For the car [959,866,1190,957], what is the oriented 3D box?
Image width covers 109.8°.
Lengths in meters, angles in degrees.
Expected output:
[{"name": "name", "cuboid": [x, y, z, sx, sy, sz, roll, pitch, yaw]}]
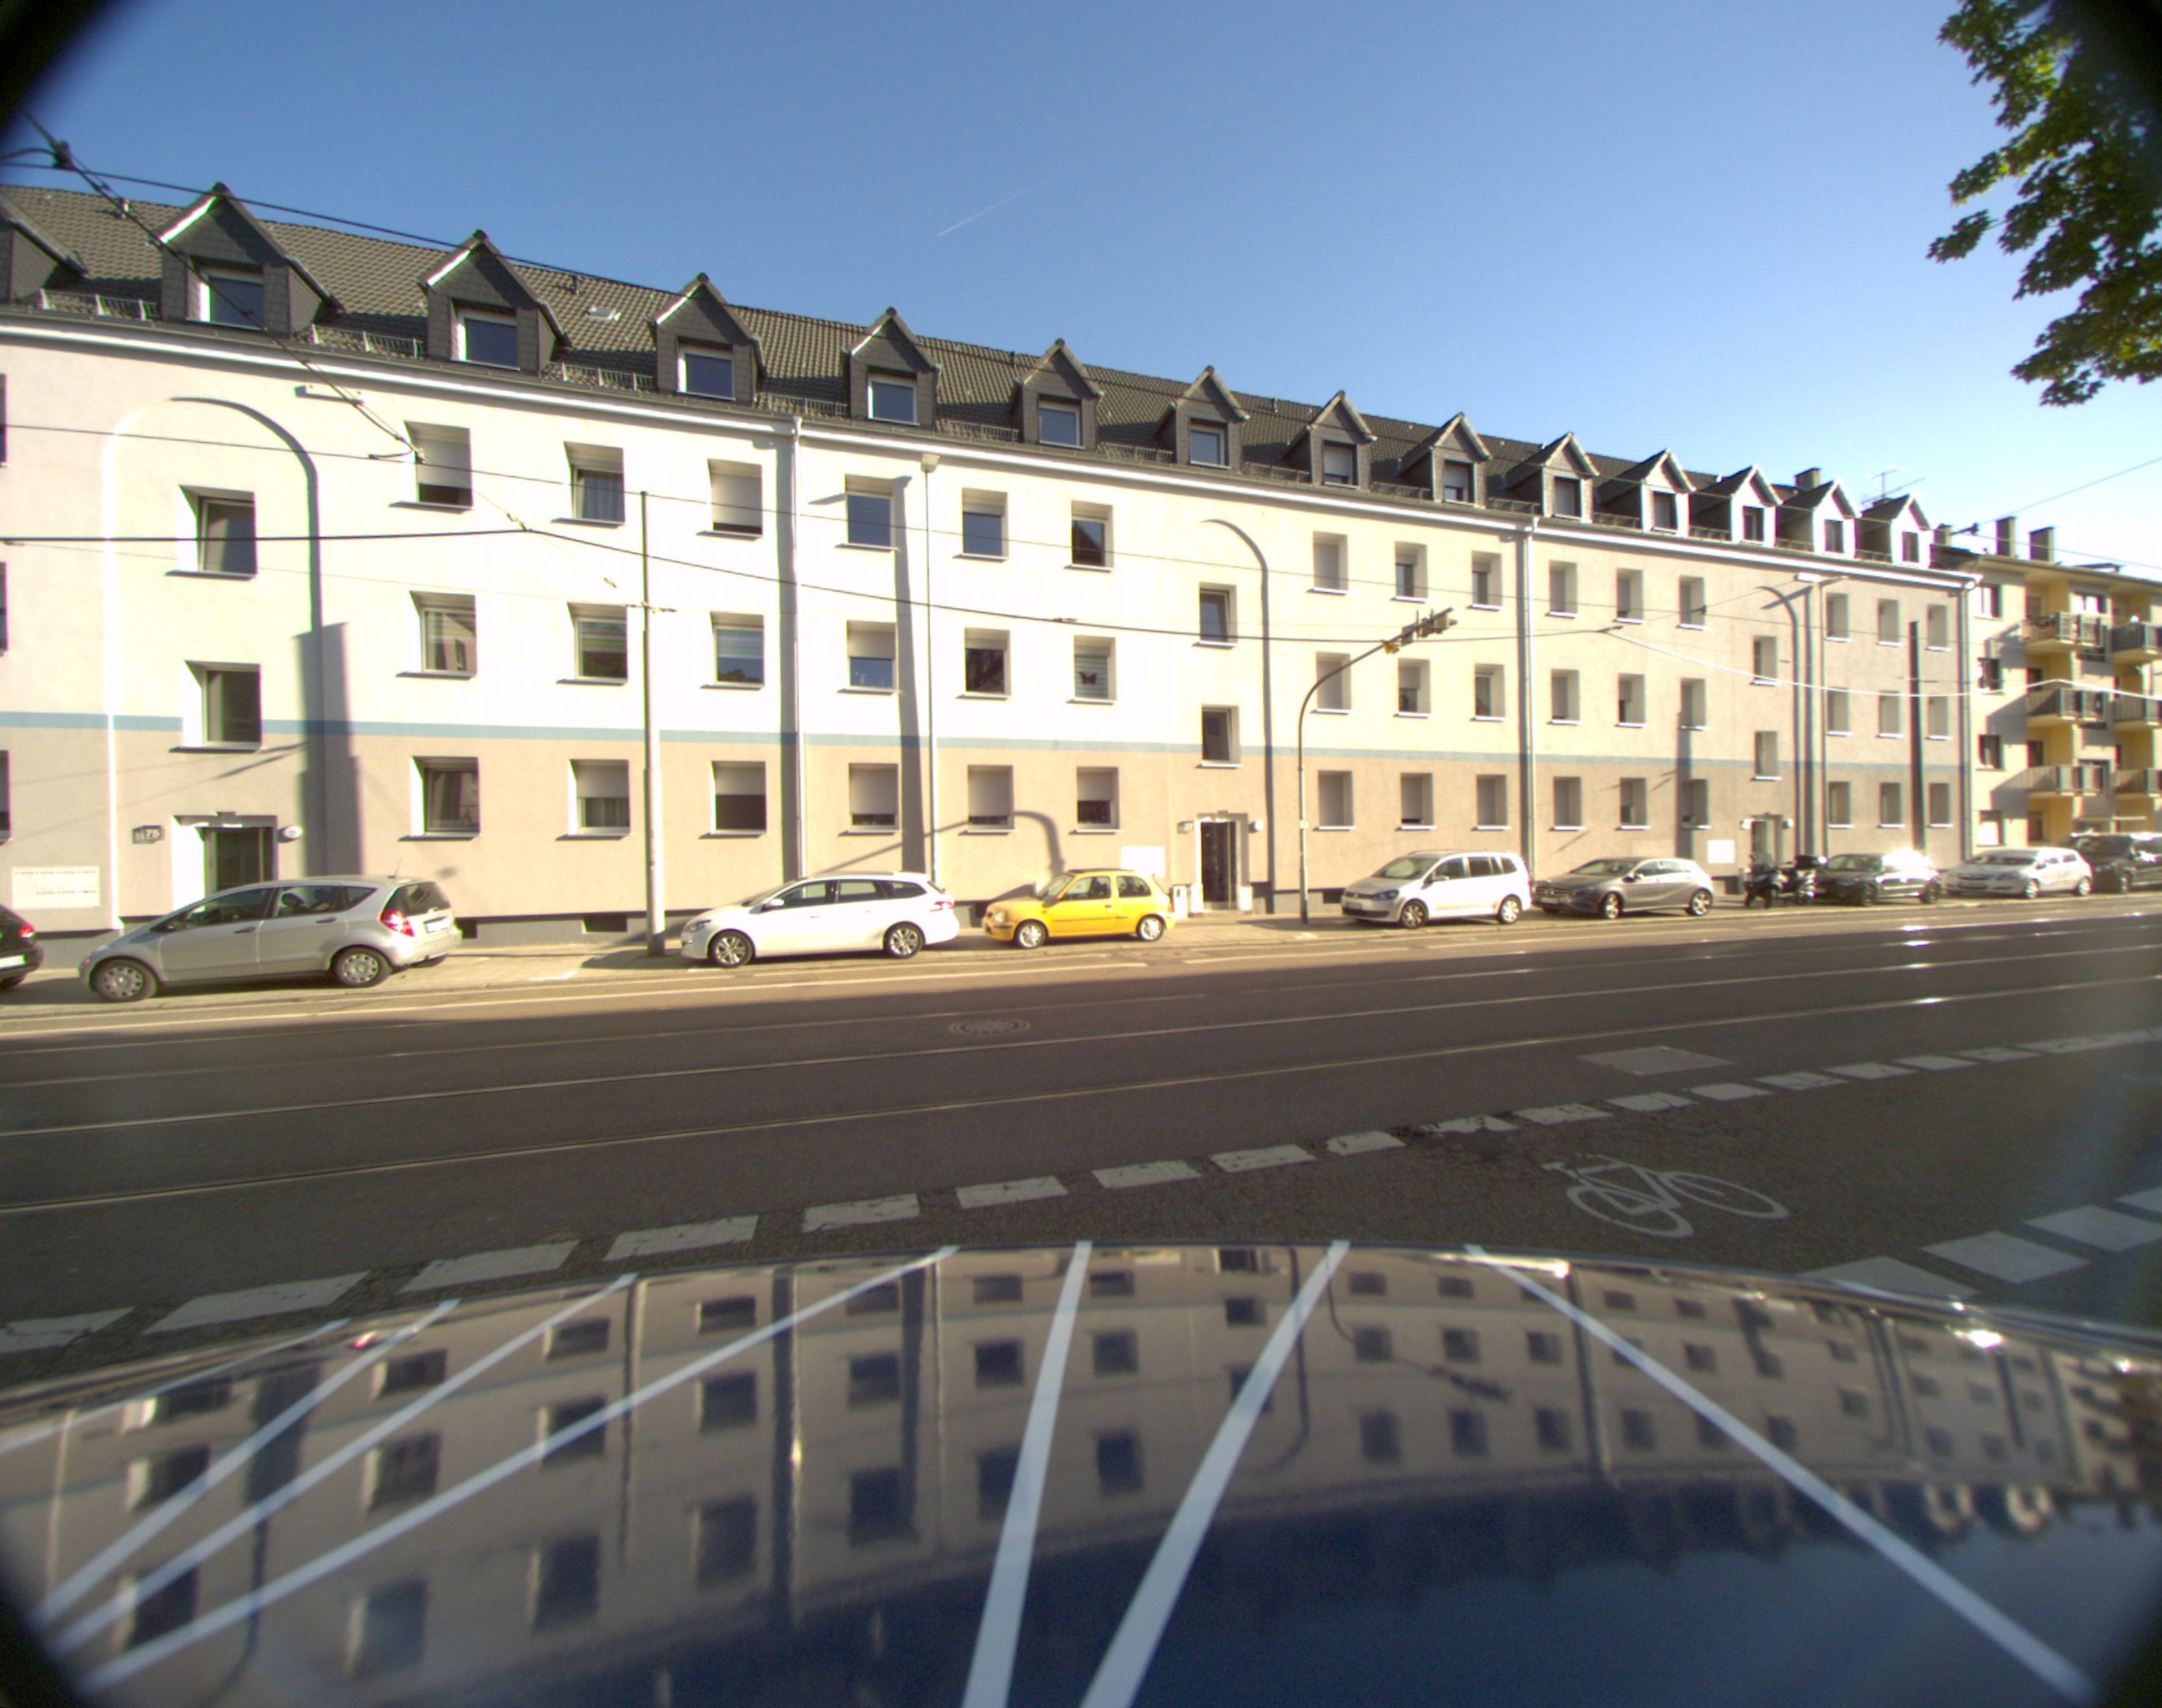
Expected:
[{"name": "car", "cuboid": [-0.141, 1.041, 14.737, 4.204, 1.422, 1.516, -2, 1, -17]}]

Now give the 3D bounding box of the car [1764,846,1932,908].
[{"name": "car", "cuboid": [21.681, 0.593, 21.507, 3.906, 1.562, 1.611, -1, 2, -15]}]

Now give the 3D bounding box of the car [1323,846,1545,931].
[{"name": "car", "cuboid": [7.976, 0.687, 17.196, 4.630, 1.656, 1.757, -1, 2, -19]}]

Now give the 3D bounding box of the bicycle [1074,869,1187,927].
[{"name": "bicycle", "cuboid": [1.133, 0.975, 17.488, 2.329, 1.190, 1.098, -1, 0, -18]}]

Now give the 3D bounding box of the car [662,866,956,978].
[{"name": "car", "cuboid": [-4.563, 1.087, 13.259, 4.512, 1.562, 1.682, -1, 2, -16]}]

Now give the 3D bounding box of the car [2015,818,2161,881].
[{"name": "car", "cuboid": [33.310, -0.200, 24.634, 5.006, 1.910, 1.932, -1, 2, -15]}]

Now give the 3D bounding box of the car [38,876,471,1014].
[{"name": "car", "cuboid": [-11.811, 1.229, 11.228, 3.906, 1.562, 1.757, -1, 3, -15]}]

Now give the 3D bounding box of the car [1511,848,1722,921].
[{"name": "car", "cuboid": [13.070, 0.680, 18.617, 4.368, 1.546, 1.867, -1, 2, -15]}]

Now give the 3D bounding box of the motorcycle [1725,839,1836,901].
[{"name": "motorcycle", "cuboid": [18.396, 0.392, 19.986, 2.710, 1.513, 0.806, -1, 3, -15]}]

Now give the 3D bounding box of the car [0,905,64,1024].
[{"name": "car", "cuboid": [-16.547, 1.538, 9.691, 4.011, 1.529, 1.593, 0, 2, -20]}]

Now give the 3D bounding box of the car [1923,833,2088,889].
[{"name": "car", "cuboid": [28.066, 0.166, 23.094, 3.906, 1.562, 1.803, -1, 2, -17]}]
